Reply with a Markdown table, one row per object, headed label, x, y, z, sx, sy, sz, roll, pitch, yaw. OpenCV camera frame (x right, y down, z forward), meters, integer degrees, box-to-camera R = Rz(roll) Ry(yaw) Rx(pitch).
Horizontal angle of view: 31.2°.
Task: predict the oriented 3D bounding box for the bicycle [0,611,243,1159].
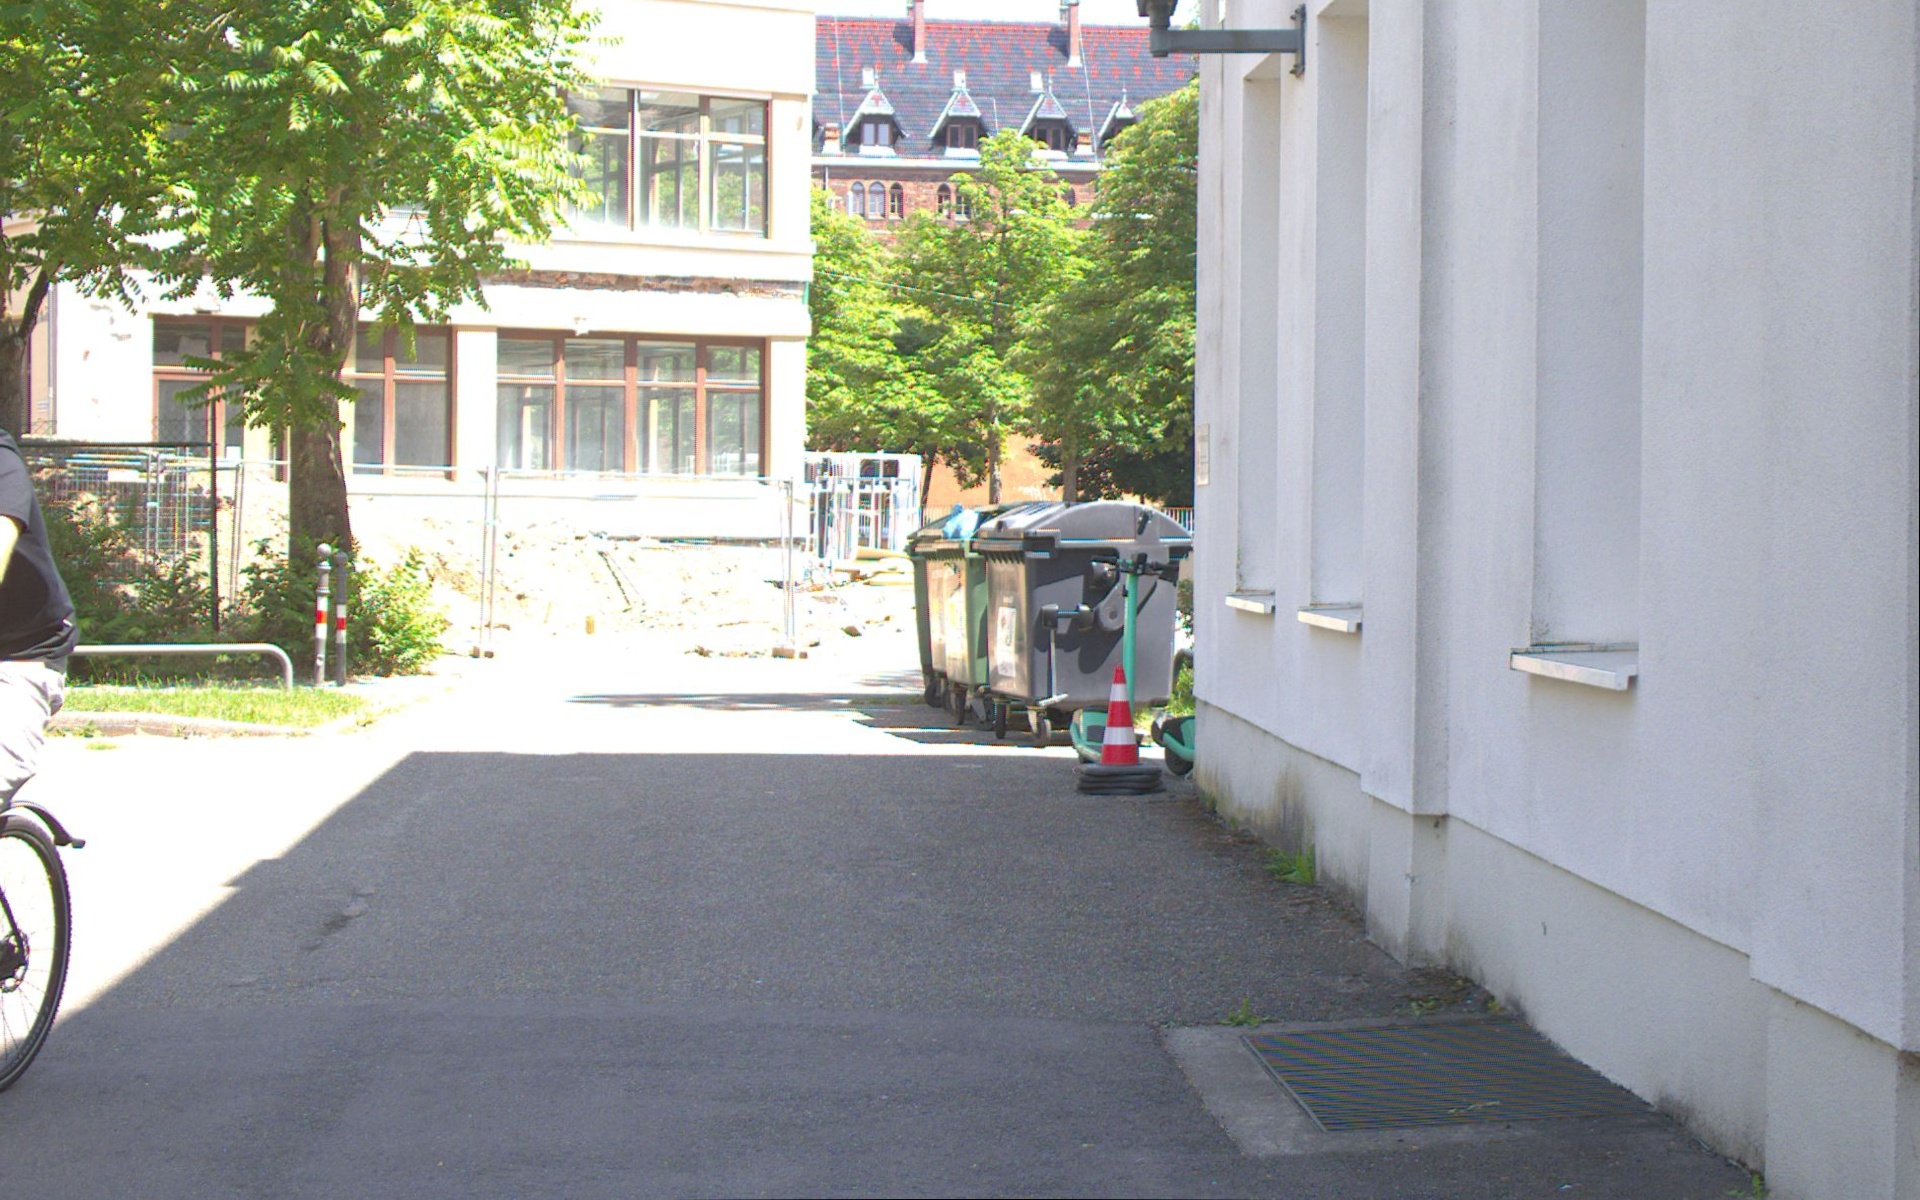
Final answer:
| label | x | y | z | sx | sy | sz | roll | pitch | yaw |
| --- | --- | --- | --- | --- | --- | --- | --- | --- | --- |
| bicycle | -2.462 | 0.669 | 7.844 | 0.644 | 1.170 | 1.902 | 2 | 3 | 23 |

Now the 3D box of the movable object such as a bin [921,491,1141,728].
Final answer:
| label | x | y | z | sx | sy | sz | roll | pitch | yaw |
| --- | --- | --- | --- | --- | --- | --- | --- | --- | --- |
| movable object such as a bin | 0.440 | 0.056 | 22.209 | 1.178 | 1.465 | 1.312 | 1 | 0 | -9 |

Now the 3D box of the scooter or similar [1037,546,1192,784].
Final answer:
| label | x | y | z | sx | sy | sz | roll | pitch | yaw |
| --- | --- | --- | --- | --- | --- | --- | --- | --- | --- |
| scooter or similar | 0.781 | 0.314 | 17.710 | 0.463 | 1.170 | 1.357 | 0 | 1 | -12 |

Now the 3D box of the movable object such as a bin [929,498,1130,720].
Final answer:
| label | x | y | z | sx | sy | sz | roll | pitch | yaw |
| --- | --- | --- | --- | --- | --- | --- | --- | --- | --- |
| movable object such as a bin | 0.458 | 0.057 | 23.597 | 1.178 | 1.465 | 1.312 | 1 | 0 | -7 |

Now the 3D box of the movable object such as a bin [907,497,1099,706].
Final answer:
| label | x | y | z | sx | sy | sz | roll | pitch | yaw |
| --- | --- | --- | --- | --- | --- | --- | --- | --- | --- |
| movable object such as a bin | 0.298 | 0.008 | 25.031 | 1.178 | 1.465 | 1.312 | 1 | 0 | -9 |

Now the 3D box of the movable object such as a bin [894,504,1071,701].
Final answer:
| label | x | y | z | sx | sy | sz | roll | pitch | yaw |
| --- | --- | --- | --- | --- | --- | --- | --- | --- | --- |
| movable object such as a bin | 0.189 | 0.012 | 26.568 | 1.179 | 1.465 | 1.332 | 1 | 0 | 8 |

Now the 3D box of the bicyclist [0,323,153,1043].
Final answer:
| label | x | y | z | sx | sy | sz | roll | pitch | yaw |
| --- | --- | --- | --- | --- | --- | --- | --- | --- | --- |
| bicyclist | -2.444 | 0.174 | 7.849 | 0.723 | 1.603 | 0.977 | 2 | 4 | 23 |

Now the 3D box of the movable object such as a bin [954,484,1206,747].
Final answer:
| label | x | y | z | sx | sy | sz | roll | pitch | yaw |
| --- | --- | --- | --- | --- | --- | --- | --- | --- | --- |
| movable object such as a bin | 0.692 | 0.086 | 20.485 | 1.154 | 1.500 | 1.463 | 1 | 0 | -12 |

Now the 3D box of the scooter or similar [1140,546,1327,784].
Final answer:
| label | x | y | z | sx | sy | sz | roll | pitch | yaw |
| --- | --- | --- | --- | --- | --- | --- | --- | --- | --- |
| scooter or similar | 1.391 | 0.312 | 17.663 | 0.463 | 1.170 | 1.256 | 0 | 1 | -20 |
